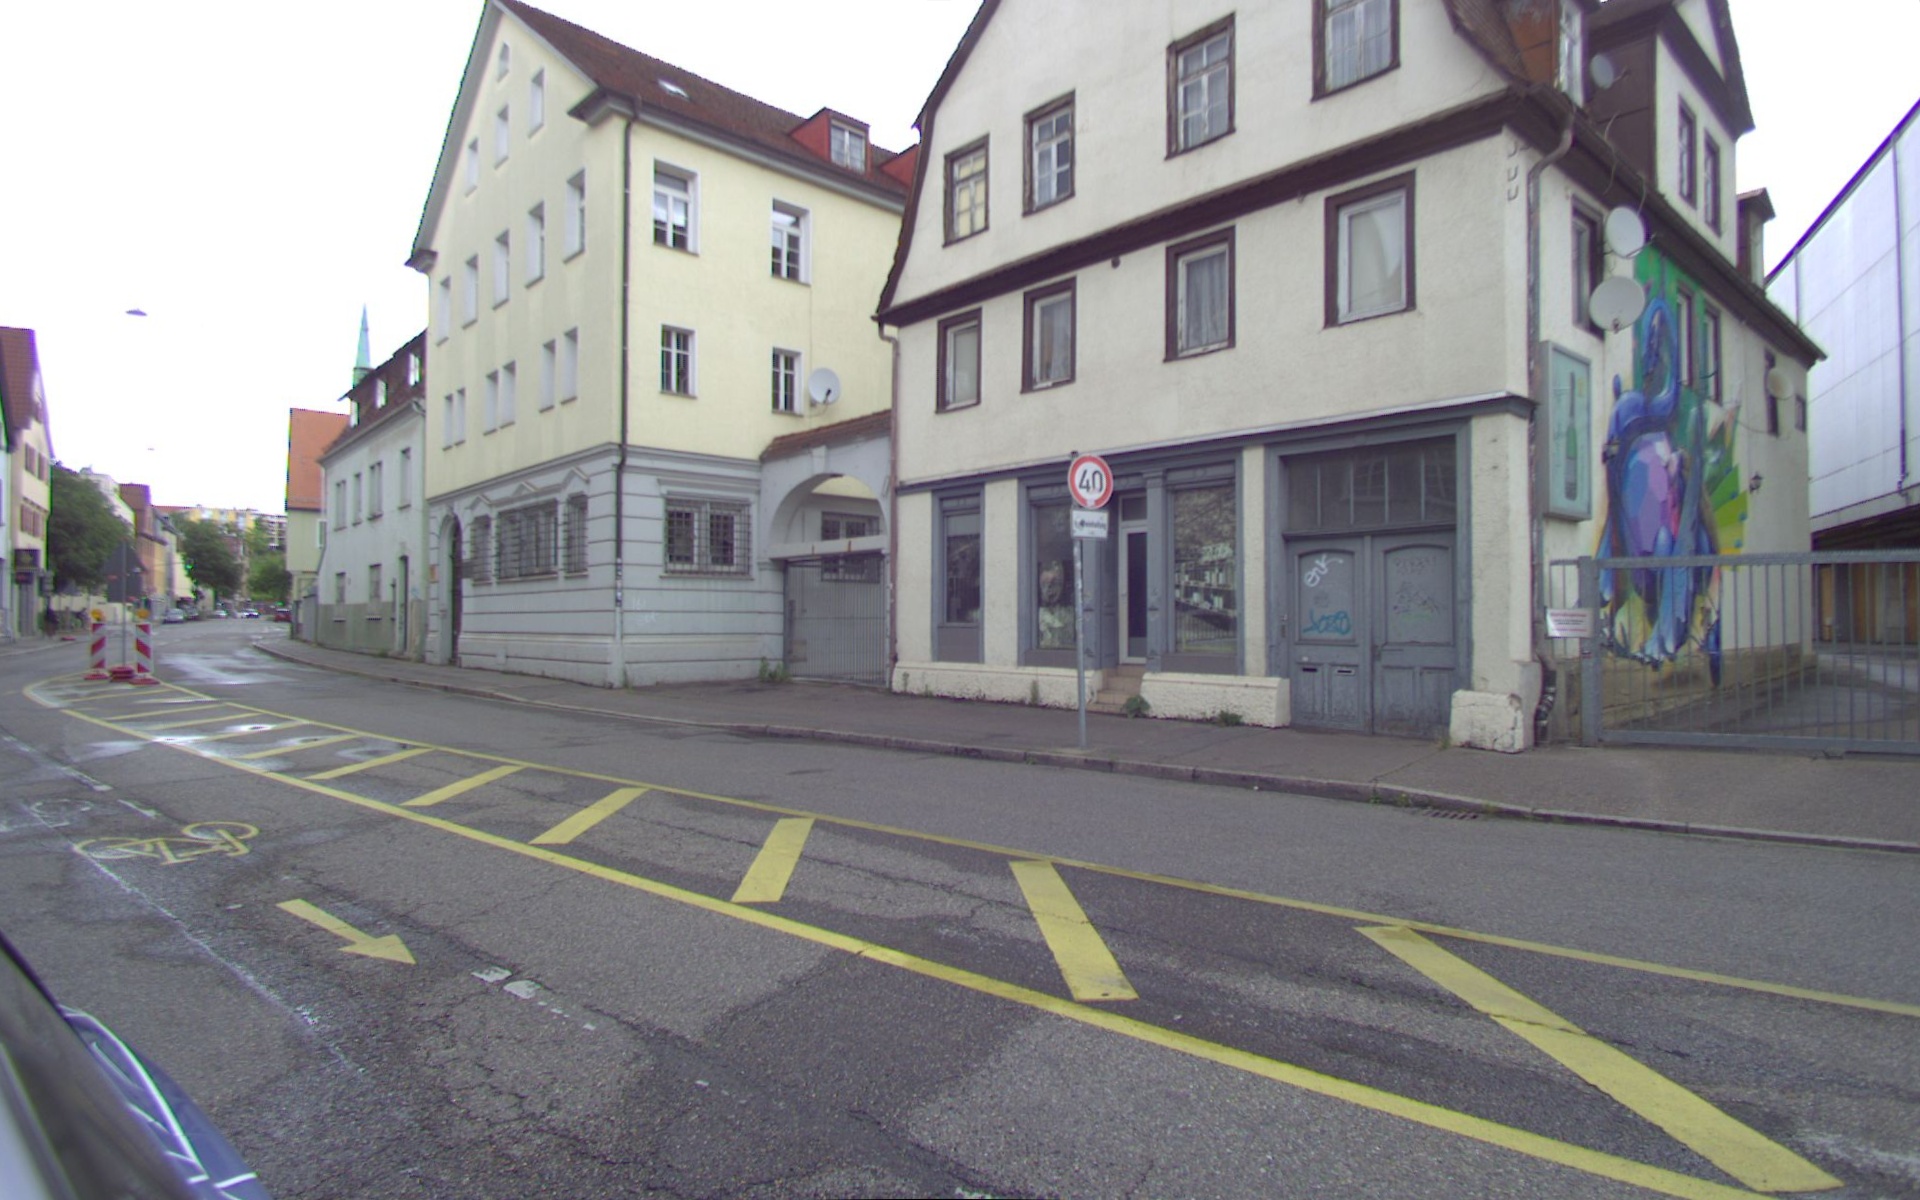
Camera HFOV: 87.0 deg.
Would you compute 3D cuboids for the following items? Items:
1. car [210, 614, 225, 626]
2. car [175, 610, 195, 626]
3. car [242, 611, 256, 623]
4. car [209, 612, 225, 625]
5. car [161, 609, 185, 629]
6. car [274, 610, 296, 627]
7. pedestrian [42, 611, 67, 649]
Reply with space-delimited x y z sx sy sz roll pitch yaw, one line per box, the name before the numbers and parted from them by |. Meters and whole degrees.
car | -123.385 3.324 168.145 1.967 2.029 4.009 1 -2 -37
car | -97.041 2.252 126.758 1.967 2.029 4.009 1 -2 -37
car | -132.582 3.176 188.639 1.967 2.029 4.009 1 -2 -37
car | -114.759 2.867 156.231 1.967 2.029 4.009 1 -2 -37
car | -84.786 2.063 109.049 1.967 2.029 4.009 1 -2 -37
car | -85.656 2.336 128.365 2.027 2.029 4.009 1 -2 -37
pedestrian | -46.539 1.526 52.023 0.864 1.914 0.899 1 -2 -36
